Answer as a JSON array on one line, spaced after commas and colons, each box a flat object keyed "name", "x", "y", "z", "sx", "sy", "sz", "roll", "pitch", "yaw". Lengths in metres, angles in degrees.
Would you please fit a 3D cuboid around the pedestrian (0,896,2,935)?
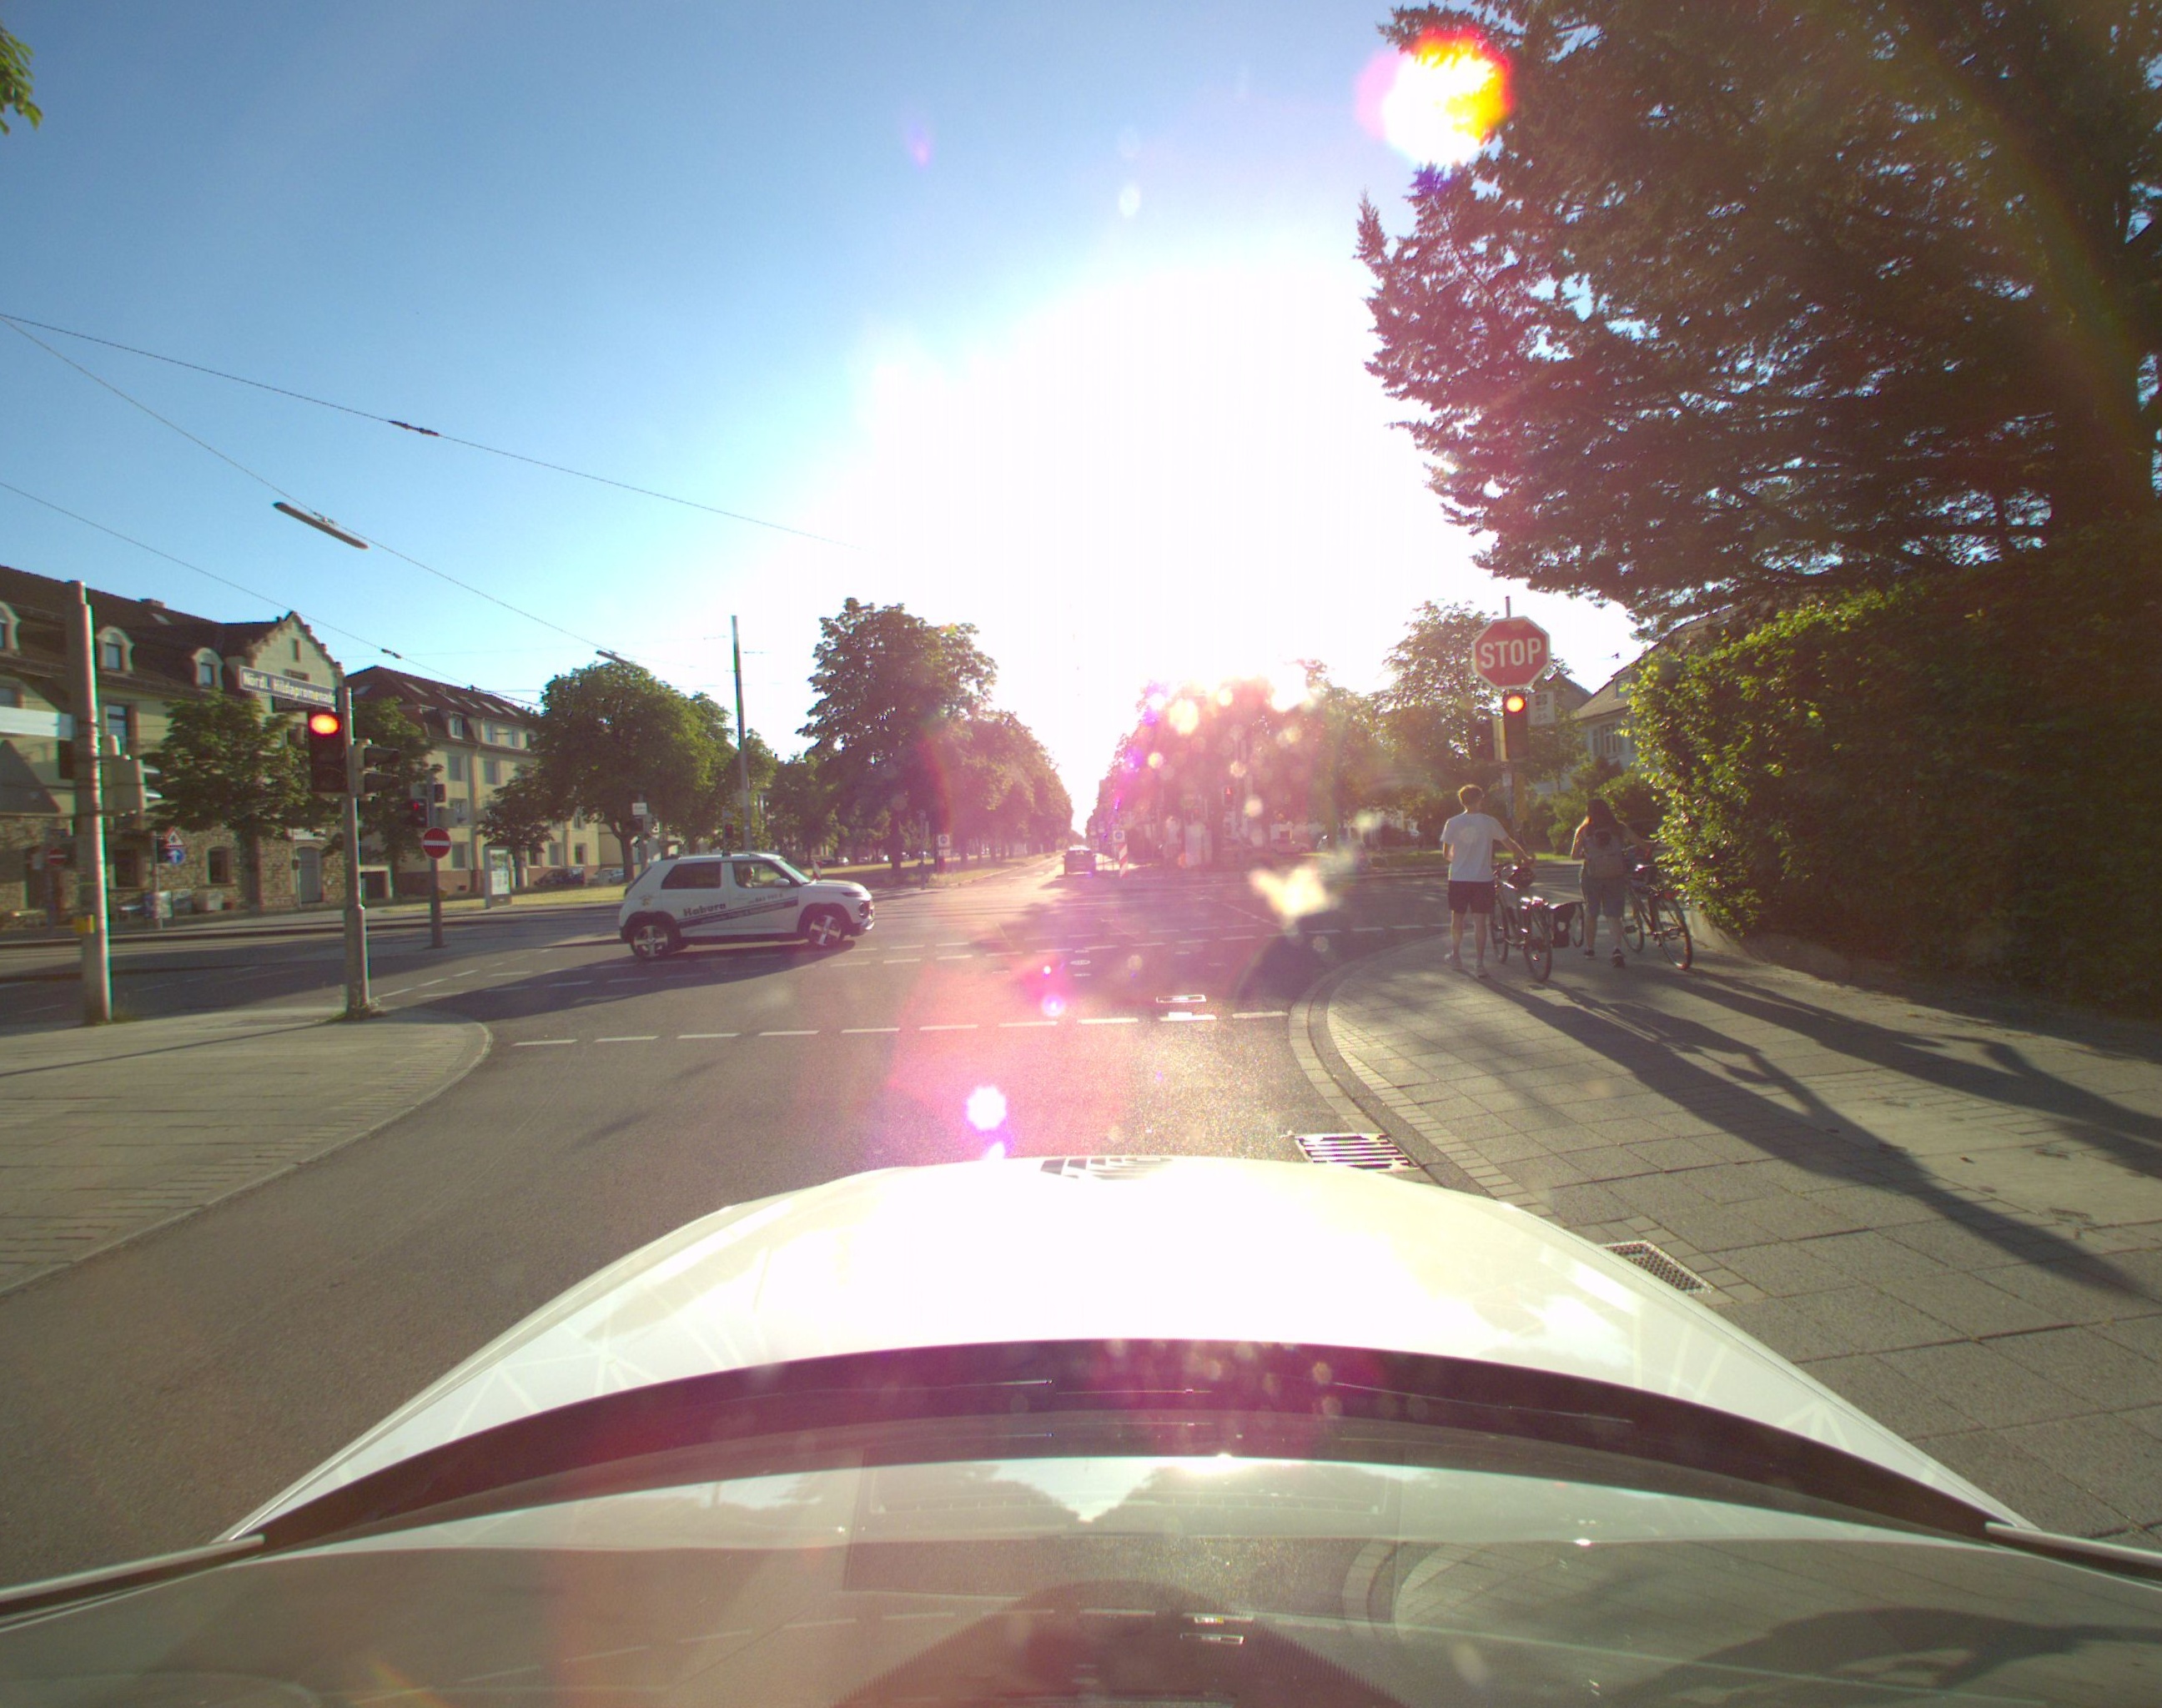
[{"name": "pedestrian", "x": -45.373, "y": 2.582, "z": 33.561, "sx": 0.808, "sy": 1.642, "sz": 0.727, "roll": -2, "pitch": 0, "yaw": 8}]

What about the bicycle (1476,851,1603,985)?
[{"name": "bicycle", "x": 4.427, "y": 0.561, "z": 7.991, "sx": 0.483, "sy": 1.097, "sz": 1.797, "roll": -5, "pitch": 1, "yaw": 12}]

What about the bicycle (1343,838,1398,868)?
[{"name": "bicycle", "x": 11.623, "y": -0.039, "z": 32.753, "sx": 1.946, "sy": 1.132, "sz": 0.620, "roll": -2, "pitch": 0, "yaw": 2}]

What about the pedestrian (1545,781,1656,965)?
[{"name": "pedestrian", "x": 5.107, "y": 0.176, "z": 8.048, "sx": 0.663, "sy": 1.708, "sz": 0.626, "roll": -6, "pitch": 1, "yaw": 20}]

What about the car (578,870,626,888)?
[{"name": "car", "x": -43.069, "y": 2.203, "z": 73.371, "sx": 1.729, "sy": 1.427, "sz": 3.799, "roll": -2, "pitch": 0, "yaw": 6}]

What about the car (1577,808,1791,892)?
[{"name": "car", "x": 12.655, "y": -0.105, "z": 17.165, "sx": 3.597, "sy": 1.497, "sz": 1.606, "roll": -3, "pitch": 1, "yaw": -11}]

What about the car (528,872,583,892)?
[{"name": "car", "x": -43.137, "y": 2.263, "z": 66.892, "sx": 1.729, "sy": 1.397, "sz": 3.799, "roll": -2, "pitch": 0, "yaw": 6}]

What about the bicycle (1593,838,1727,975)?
[{"name": "bicycle", "x": 5.512, "y": 0.448, "z": 7.844, "sx": 0.483, "sy": 1.142, "sz": 1.605, "roll": -5, "pitch": 1, "yaw": 16}]

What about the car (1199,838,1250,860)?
[{"name": "car", "x": 11.484, "y": -0.409, "z": 65.248, "sx": 3.767, "sy": 1.525, "sz": 1.744, "roll": -2, "pitch": 2, "yaw": 0}]

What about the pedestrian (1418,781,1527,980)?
[{"name": "pedestrian", "x": 3.946, "y": 0.252, "z": 8.279, "sx": 0.665, "sy": 1.865, "sz": 0.885, "roll": -6, "pitch": 1, "yaw": 13}]

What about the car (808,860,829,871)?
[{"name": "car", "x": -37.731, "y": 1.701, "z": 117.204, "sx": 1.732, "sy": 1.427, "sz": 3.793, "roll": -2, "pitch": 0, "yaw": 1}]

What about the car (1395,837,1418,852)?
[{"name": "car", "x": 33.407, "y": -0.987, "z": 83.474, "sx": 1.648, "sy": 1.417, "sz": 3.565, "roll": -2, "pitch": 0, "yaw": 30}]

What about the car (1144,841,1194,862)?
[{"name": "car", "x": 6.984, "y": -0.216, "z": 65.028, "sx": 3.767, "sy": 1.427, "sz": 1.744, "roll": -2, "pitch": 2, "yaw": 0}]

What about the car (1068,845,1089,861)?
[{"name": "car", "x": -0.219, "y": -0.105, "z": 77.991, "sx": 1.839, "sy": 1.393, "sz": 3.829, "roll": -2, "pitch": 1, "yaw": 1}]

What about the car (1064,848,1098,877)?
[{"name": "car", "x": 0.016, "y": 0.419, "z": 44.065, "sx": 1.634, "sy": 1.450, "sz": 3.309, "roll": -2, "pitch": 1, "yaw": 3}]

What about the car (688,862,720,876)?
[{"name": "car", "x": -43.130, "y": 1.655, "z": 93.301, "sx": 1.732, "sy": 1.427, "sz": 3.793, "roll": -2, "pitch": 0, "yaw": 1}]

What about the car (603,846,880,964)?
[{"name": "car", "x": -5.403, "y": 0.756, "z": 13.434, "sx": 3.866, "sy": 1.551, "sz": 1.606, "roll": -3, "pitch": 2, "yaw": -11}]

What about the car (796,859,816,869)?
[{"name": "car", "x": -43.113, "y": 1.629, "z": 127.536, "sx": 1.732, "sy": 1.427, "sz": 3.793, "roll": -2, "pitch": 0, "yaw": 1}]

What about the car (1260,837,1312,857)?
[{"name": "car", "x": 16.365, "y": -0.526, "z": 65.077, "sx": 3.656, "sy": 1.427, "sz": 1.529, "roll": -2, "pitch": 0, "yaw": -4}]

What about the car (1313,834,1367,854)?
[{"name": "car", "x": 20.877, "y": -0.779, "z": 65.744, "sx": 3.838, "sy": 1.427, "sz": 1.595, "roll": -2, "pitch": 0, "yaw": -4}]
